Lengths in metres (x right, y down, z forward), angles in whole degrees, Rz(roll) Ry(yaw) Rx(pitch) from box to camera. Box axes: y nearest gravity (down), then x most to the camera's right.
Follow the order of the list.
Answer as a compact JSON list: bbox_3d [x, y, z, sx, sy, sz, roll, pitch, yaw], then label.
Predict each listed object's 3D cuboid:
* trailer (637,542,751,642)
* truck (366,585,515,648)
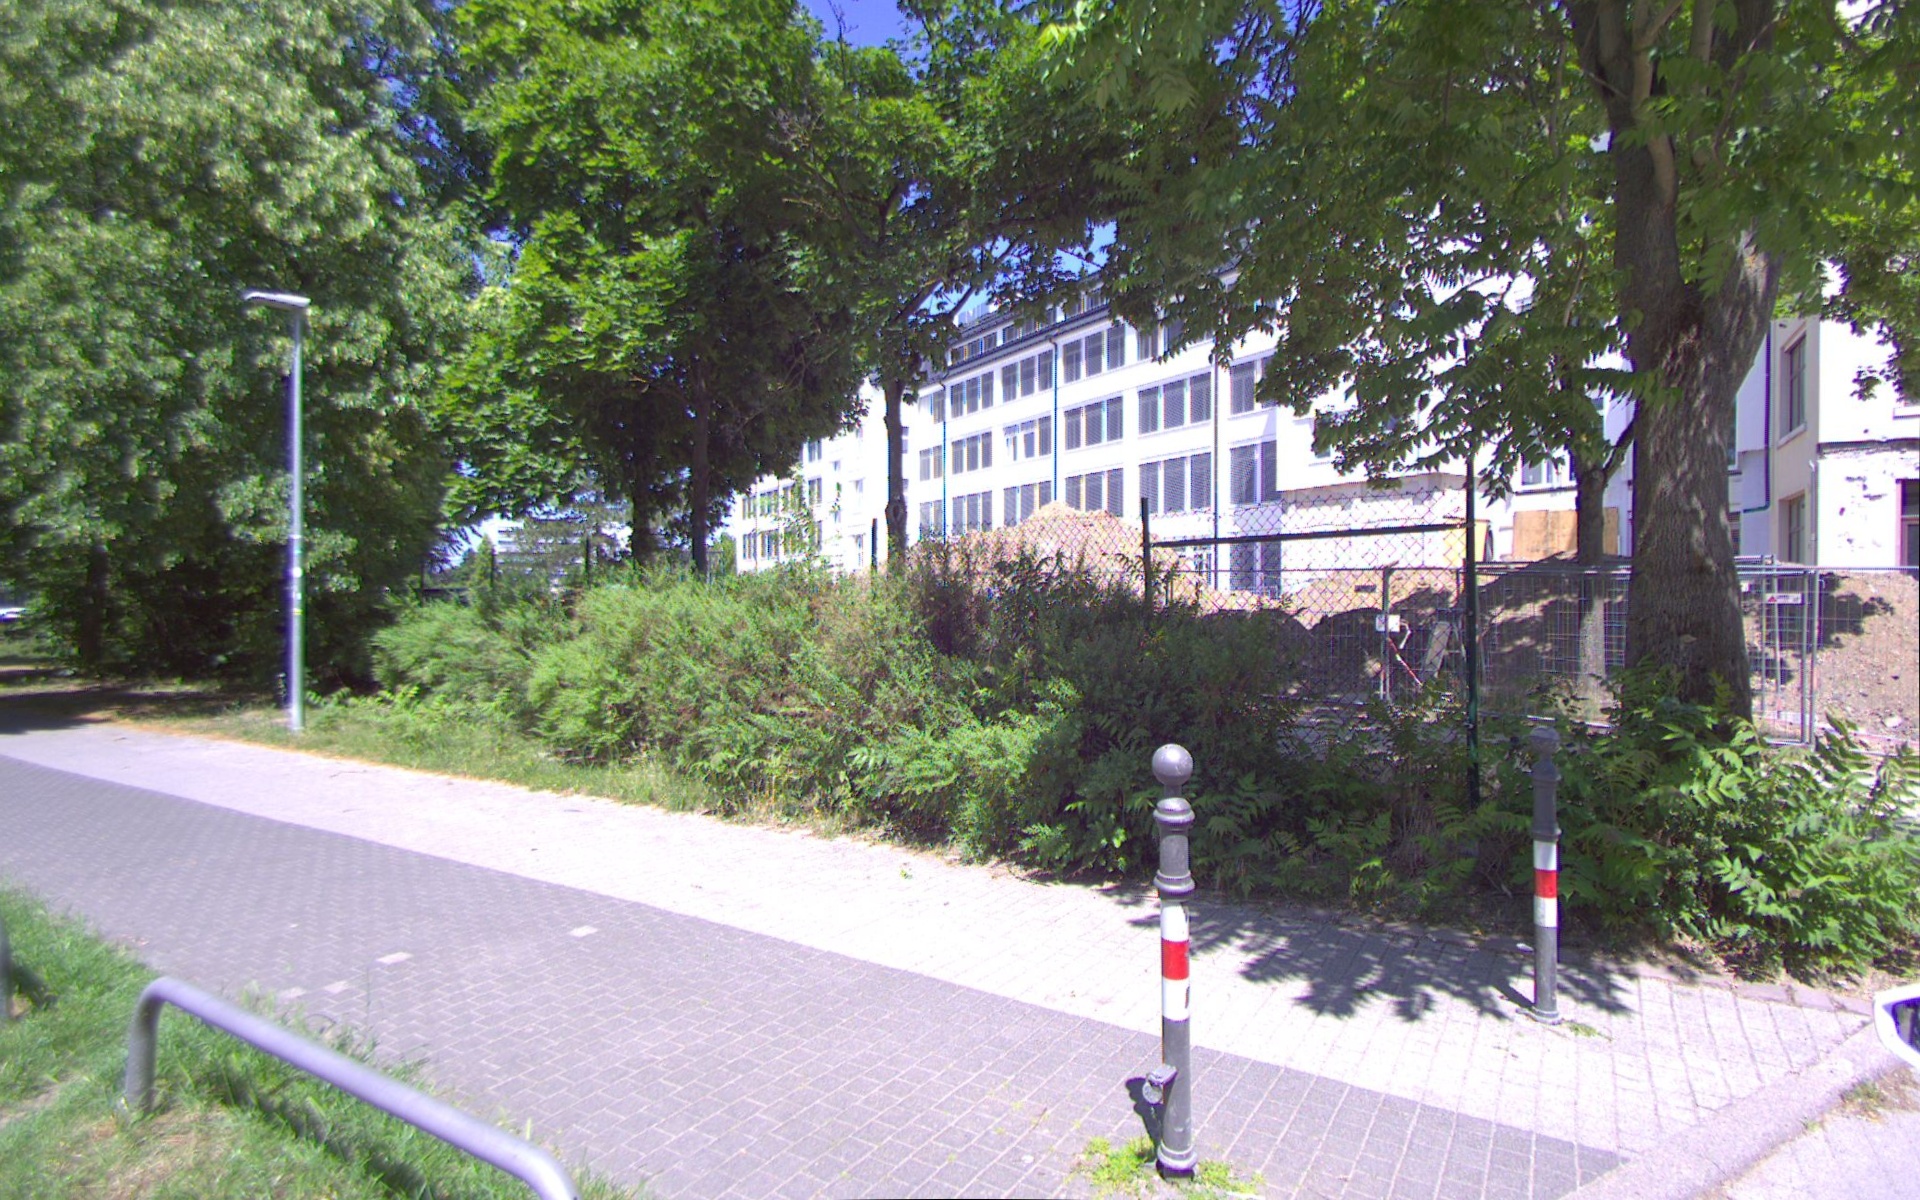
[{"bbox_3d":[-10.607,-0.264,39.320,3.000,3.467,8.721,1,0,-24],"label":"trailer"},{"bbox_3d":[-17.819,0.562,34.532,4.406,2.021,1.984,1,0,-31],"label":"truck"}]
